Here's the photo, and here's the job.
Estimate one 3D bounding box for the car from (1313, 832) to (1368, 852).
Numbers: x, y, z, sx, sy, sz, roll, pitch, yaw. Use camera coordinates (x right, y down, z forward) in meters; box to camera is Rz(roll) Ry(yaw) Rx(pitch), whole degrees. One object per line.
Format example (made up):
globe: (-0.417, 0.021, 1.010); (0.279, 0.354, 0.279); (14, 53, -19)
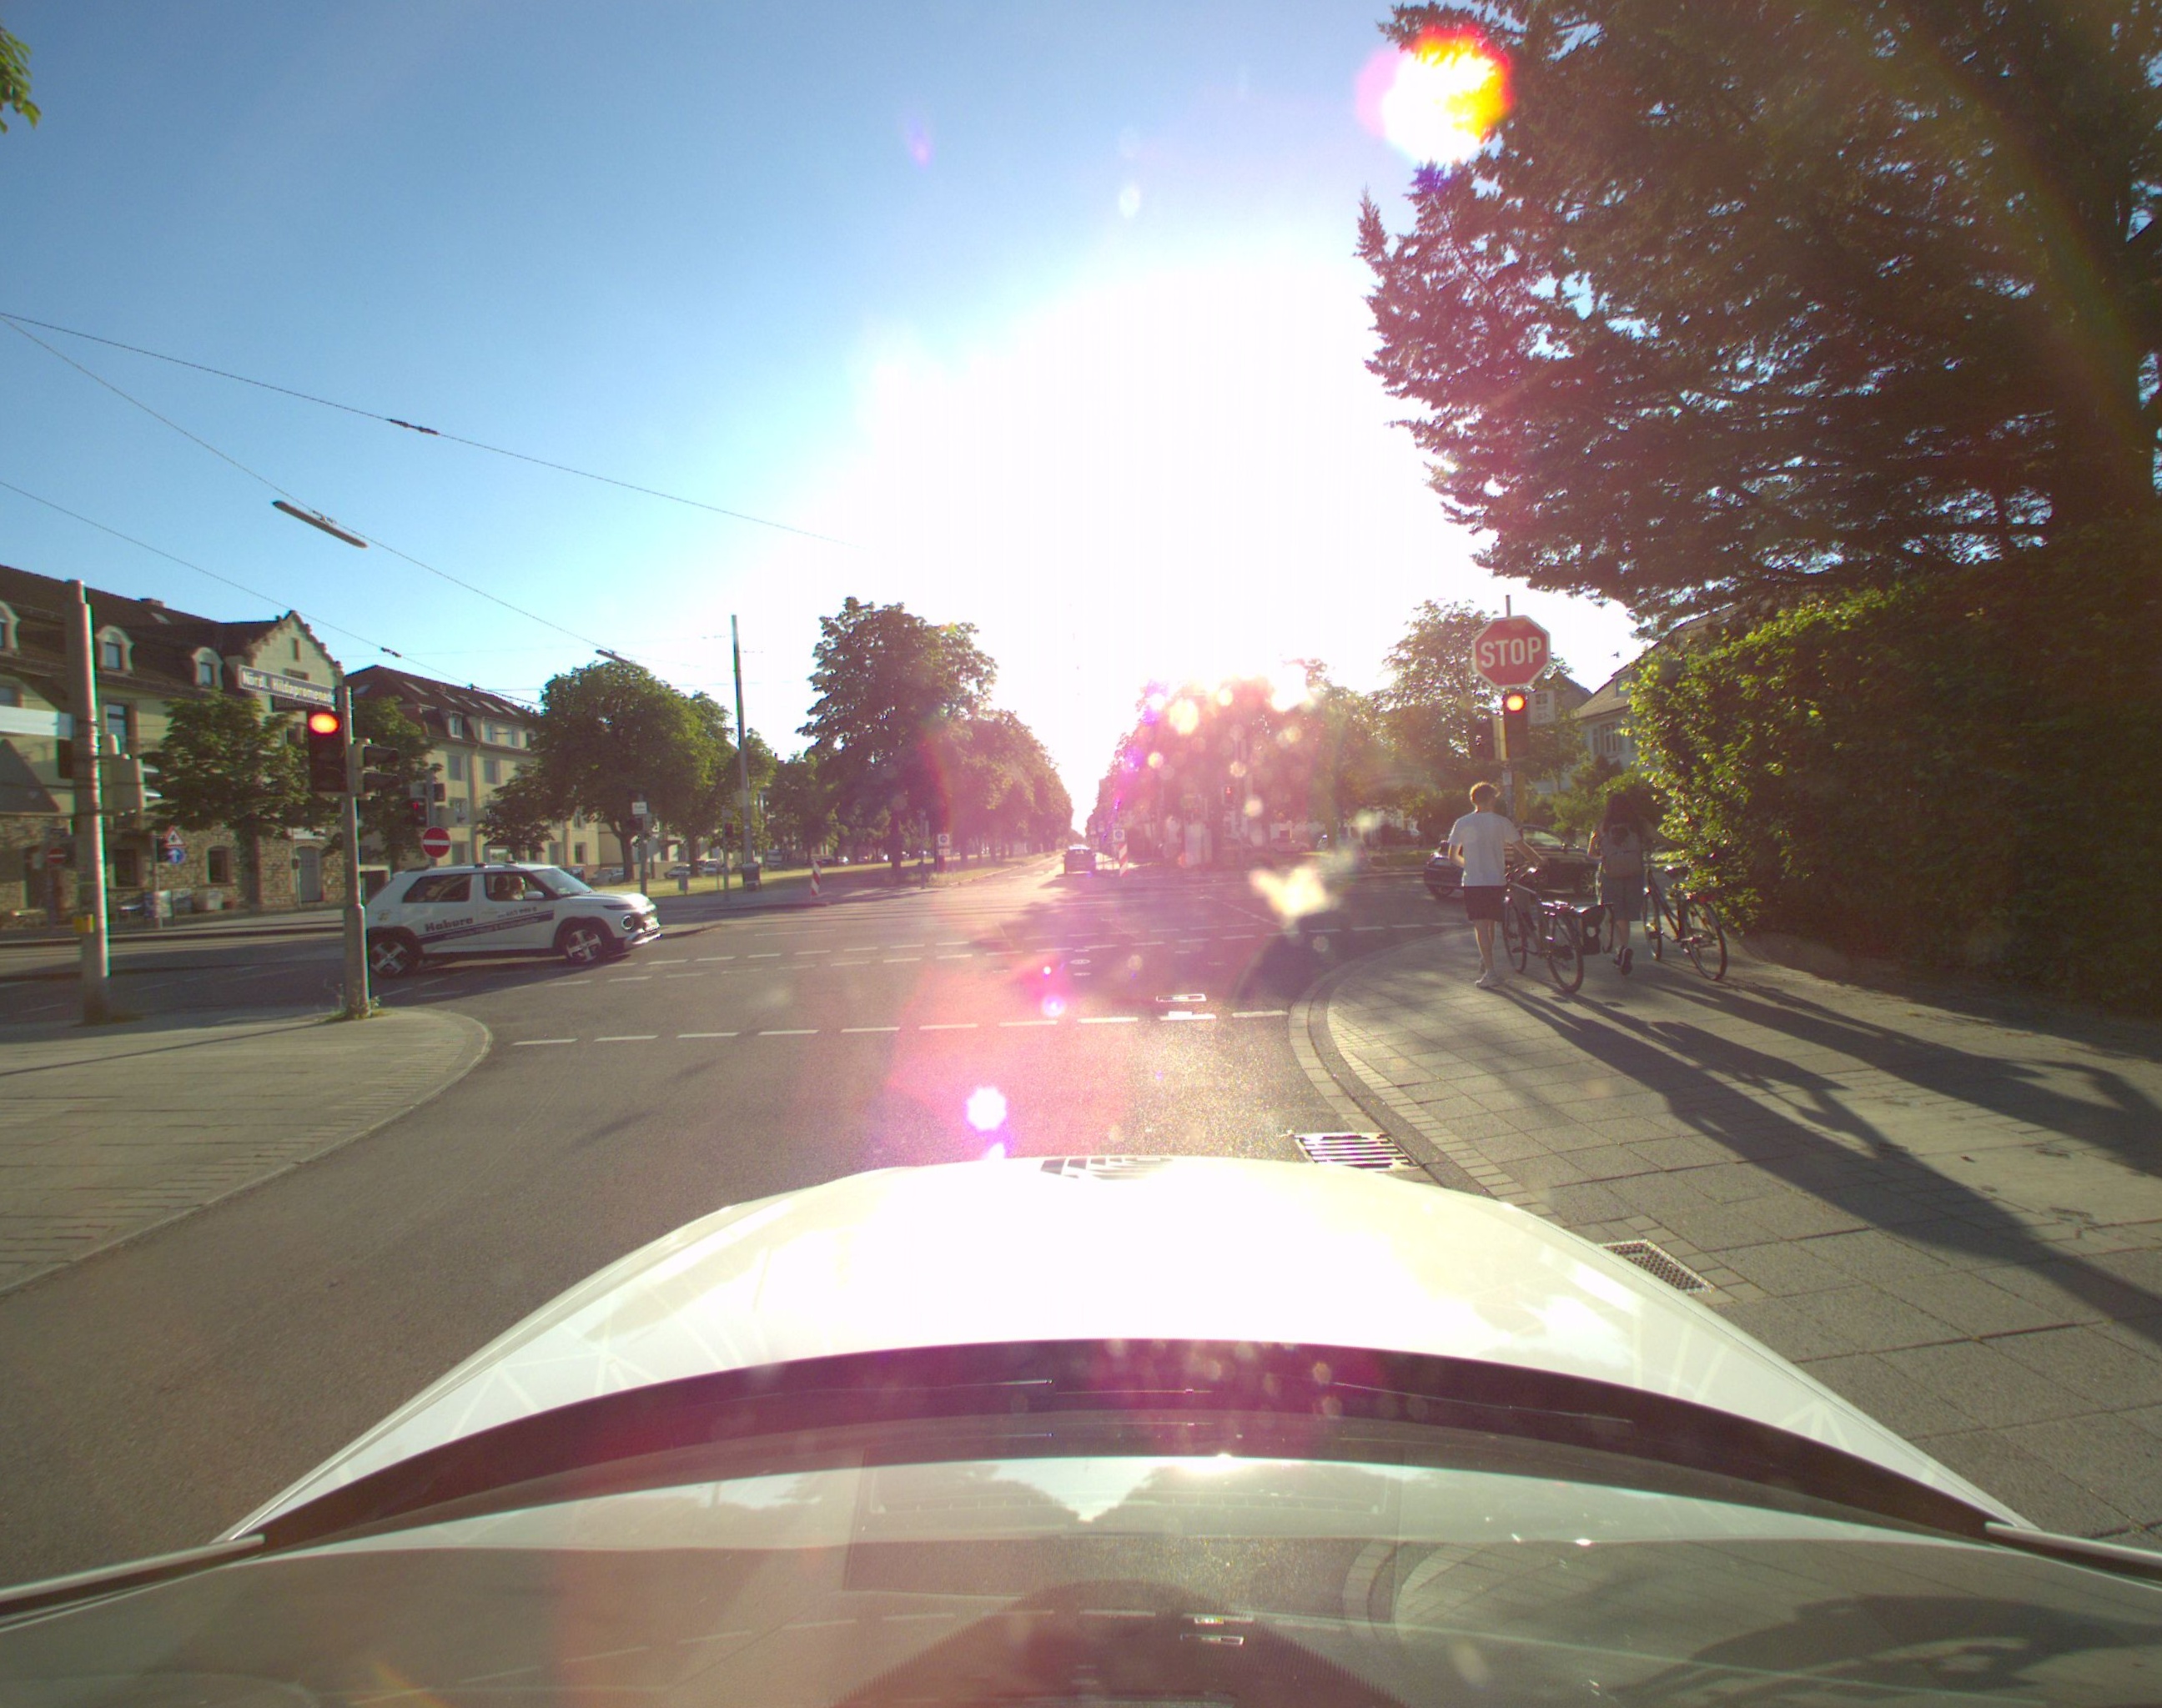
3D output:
car: (20.903, -0.982, 65.682); (3.838, 1.427, 1.595); (-2, 0, -4)

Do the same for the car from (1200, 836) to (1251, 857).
car: (11.510, -0.600, 65.188); (3.767, 1.525, 1.744); (-2, 2, 0)

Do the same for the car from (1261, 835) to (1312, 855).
car: (16.391, -0.722, 65.016); (3.656, 1.427, 1.529); (-2, 0, -4)

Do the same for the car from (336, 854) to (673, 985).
car: (-8.770, 0.936, 12.735); (3.865, 1.551, 1.607); (-4, 2, -10)

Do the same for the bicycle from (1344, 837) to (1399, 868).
bicycle: (11.650, -0.065, 32.694); (1.946, 1.132, 0.620); (-3, 0, 2)

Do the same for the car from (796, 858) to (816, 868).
car: (-43.076, 1.362, 127.487); (1.732, 1.427, 3.793); (-2, 0, 1)

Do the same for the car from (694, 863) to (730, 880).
car: (-37.304, 1.775, 82.427); (1.732, 1.427, 3.793); (-2, 2, 1)

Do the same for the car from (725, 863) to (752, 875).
car: (-43.519, 1.897, 103.541); (1.732, 1.427, 3.793); (-2, 0, 1)

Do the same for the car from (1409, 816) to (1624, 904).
car: (8.757, 0.084, 16.469); (3.597, 1.497, 1.606); (-3, 1, -11)

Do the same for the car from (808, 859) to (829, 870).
car: (-37.695, 1.452, 117.155); (1.732, 1.427, 3.793); (-2, 0, 1)

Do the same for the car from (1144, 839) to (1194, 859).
car: (7.011, -0.401, 64.969); (3.767, 1.427, 1.744); (-2, 2, 0)

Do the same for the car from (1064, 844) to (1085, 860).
car: (-0.622, -0.219, 78.209); (1.839, 1.393, 3.829); (-2, 1, 1)

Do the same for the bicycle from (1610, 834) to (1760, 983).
bicycle: (5.337, 0.426, 7.297); (0.483, 1.142, 1.605); (-5, 1, 16)

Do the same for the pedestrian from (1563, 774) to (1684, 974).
pedestrian: (4.937, 0.177, 7.455); (0.663, 1.708, 0.626); (-6, 1, 20)

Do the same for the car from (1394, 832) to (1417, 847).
car: (33.283, -1.516, 83.531); (1.648, 1.417, 3.565); (-2, 0, 30)

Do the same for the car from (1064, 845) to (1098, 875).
car: (0.041, 0.291, 44.008); (1.634, 1.450, 3.310); (-2, 1, 3)

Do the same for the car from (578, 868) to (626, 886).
car: (-43.038, 2.060, 73.323); (1.729, 1.427, 3.799); (-2, 1, 6)

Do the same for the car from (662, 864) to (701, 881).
car: (-37.353, 1.718, 76.223); (1.732, 1.427, 3.793); (-2, 1, 1)

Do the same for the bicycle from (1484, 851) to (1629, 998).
bicycle: (4.239, 0.563, 7.395); (0.484, 1.097, 1.796); (-5, 1, 11)

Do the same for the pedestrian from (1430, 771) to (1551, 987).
pedestrian: (3.805, 0.213, 7.638); (0.665, 1.865, 0.885); (-6, 1, 13)
